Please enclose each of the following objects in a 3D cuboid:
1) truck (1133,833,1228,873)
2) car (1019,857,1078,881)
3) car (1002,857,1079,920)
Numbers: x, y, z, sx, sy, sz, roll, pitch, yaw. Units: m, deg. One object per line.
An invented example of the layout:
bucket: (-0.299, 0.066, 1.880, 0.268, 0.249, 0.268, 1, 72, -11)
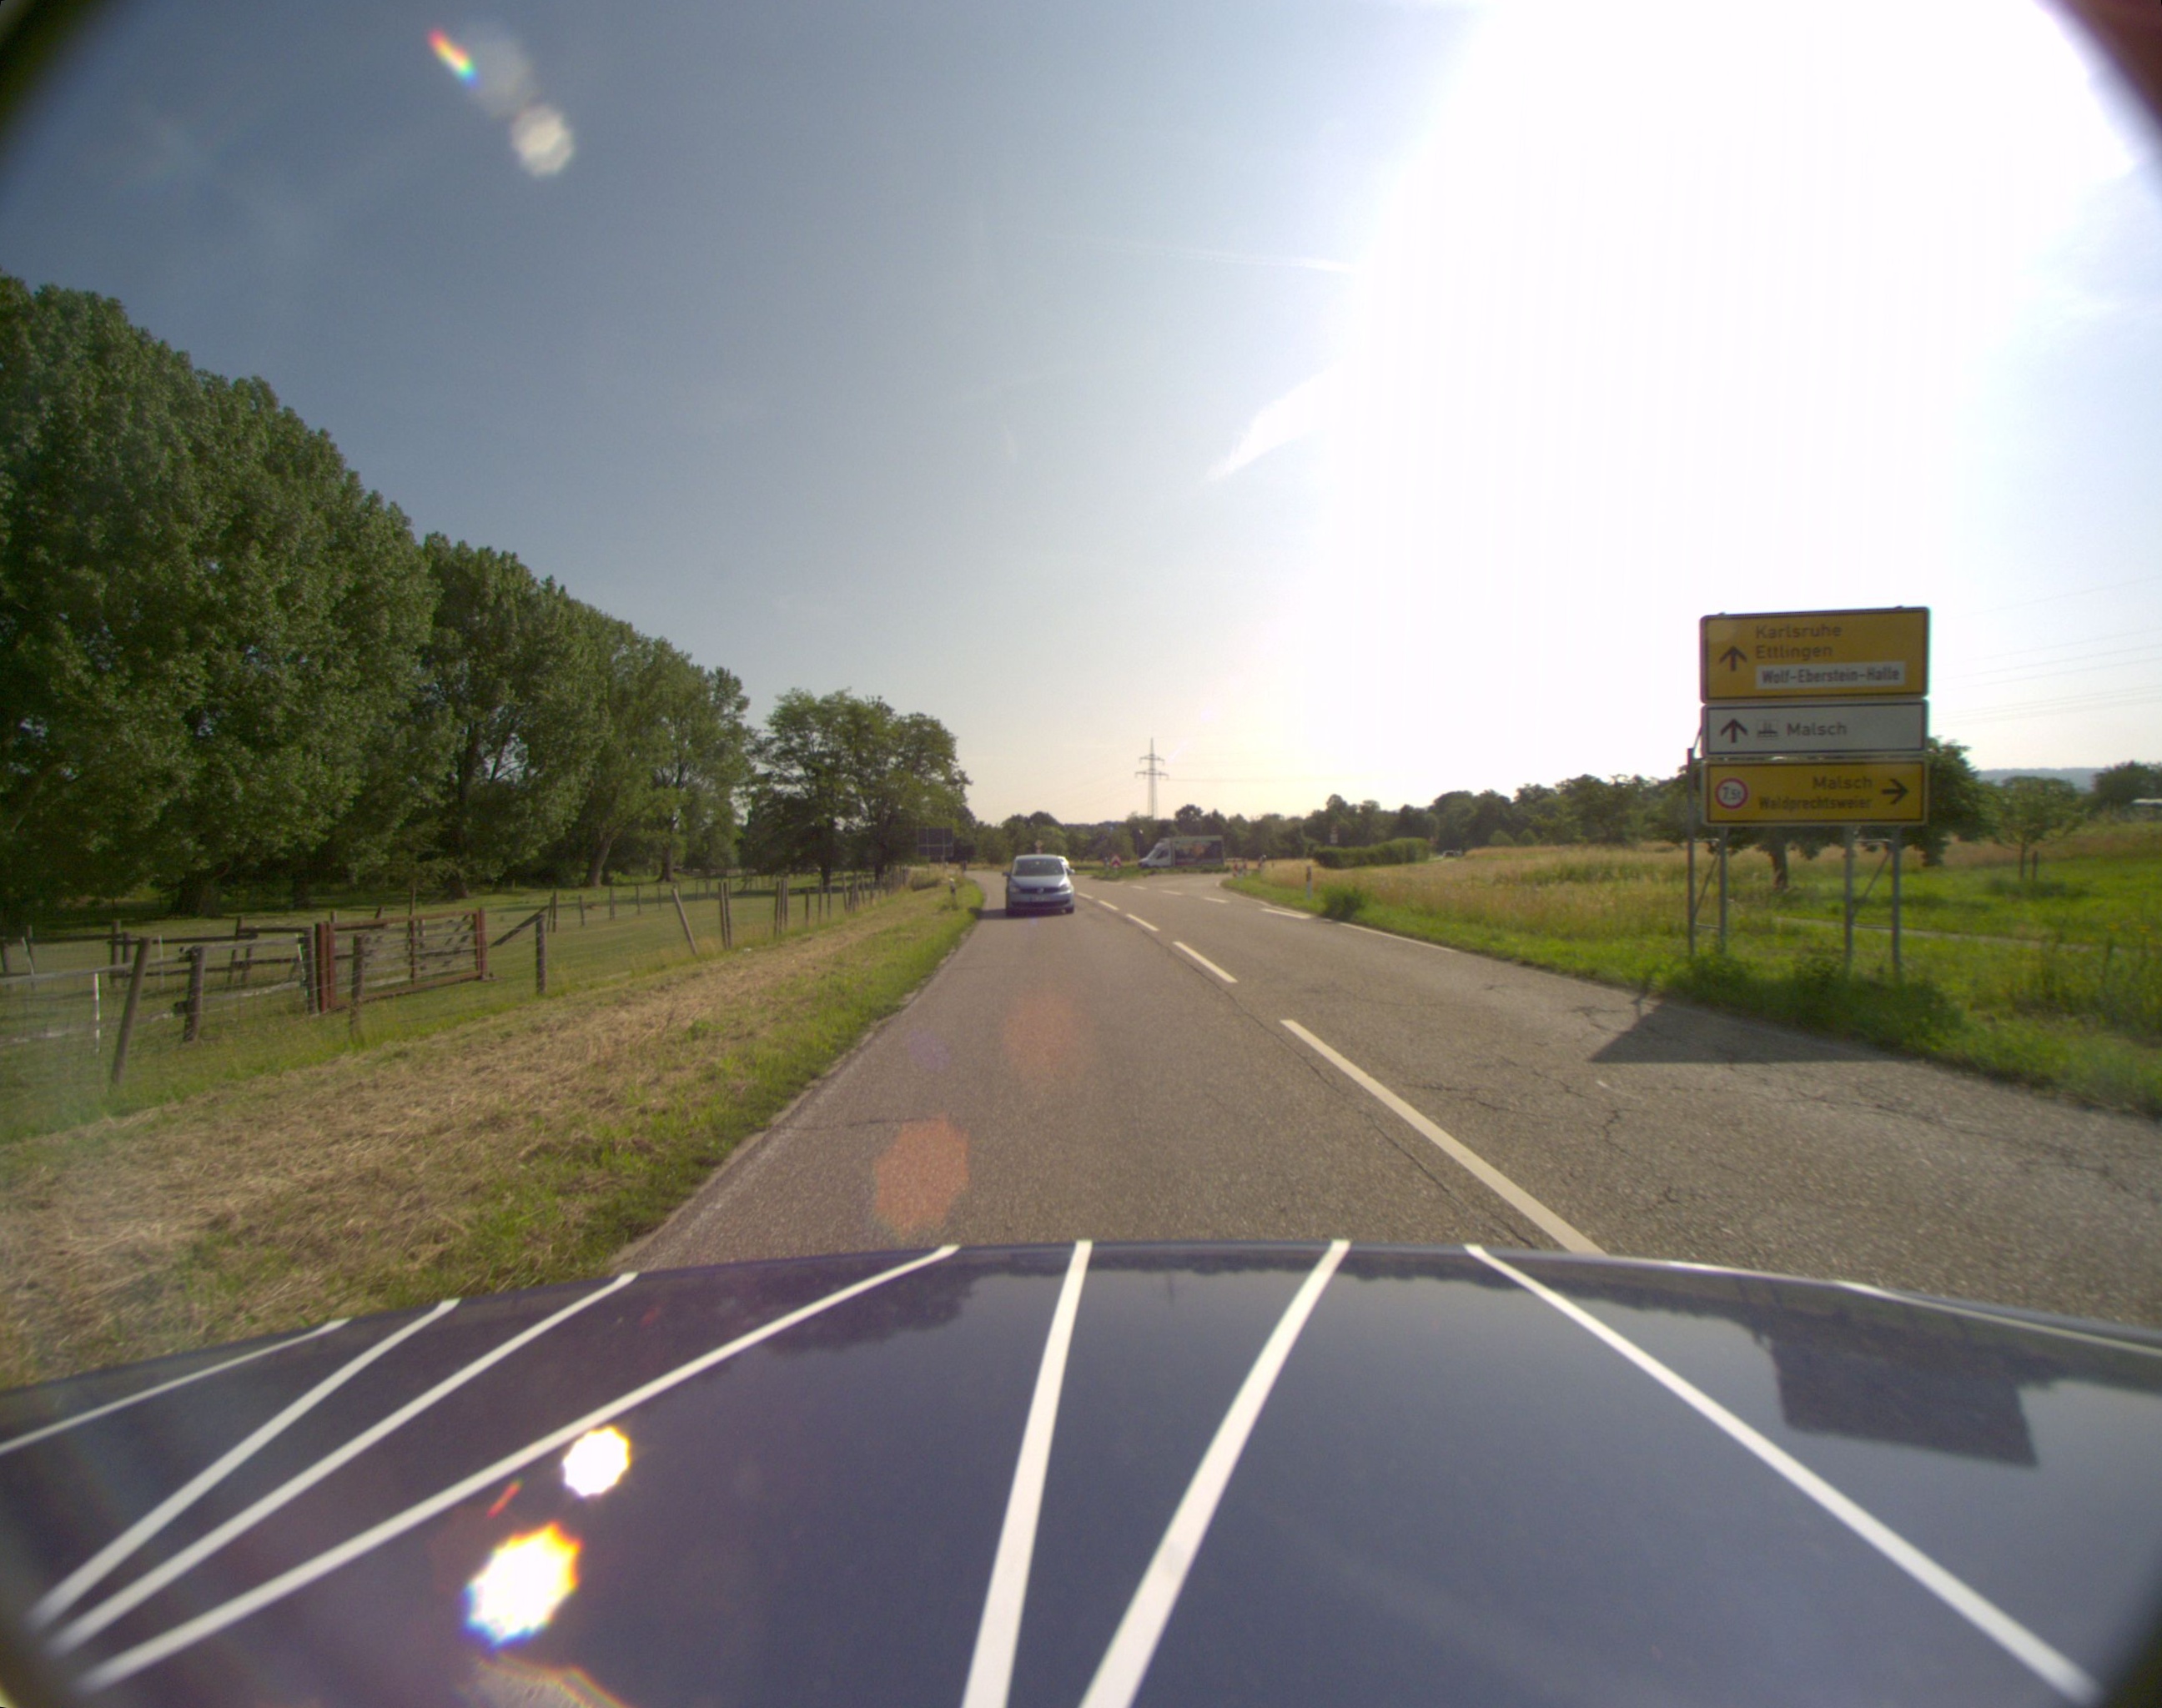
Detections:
truck: (8.249, -0.126, 63.152, 7.369, 3.027, 2.580, -2, 0, -16)
car: (-2.339, 1.079, 55.958, 3.916, 1.570, 1.995, -3, 0, -42)
car: (-1.013, 0.855, 20.865, 1.718, 1.495, 4.094, -2, 0, 2)
